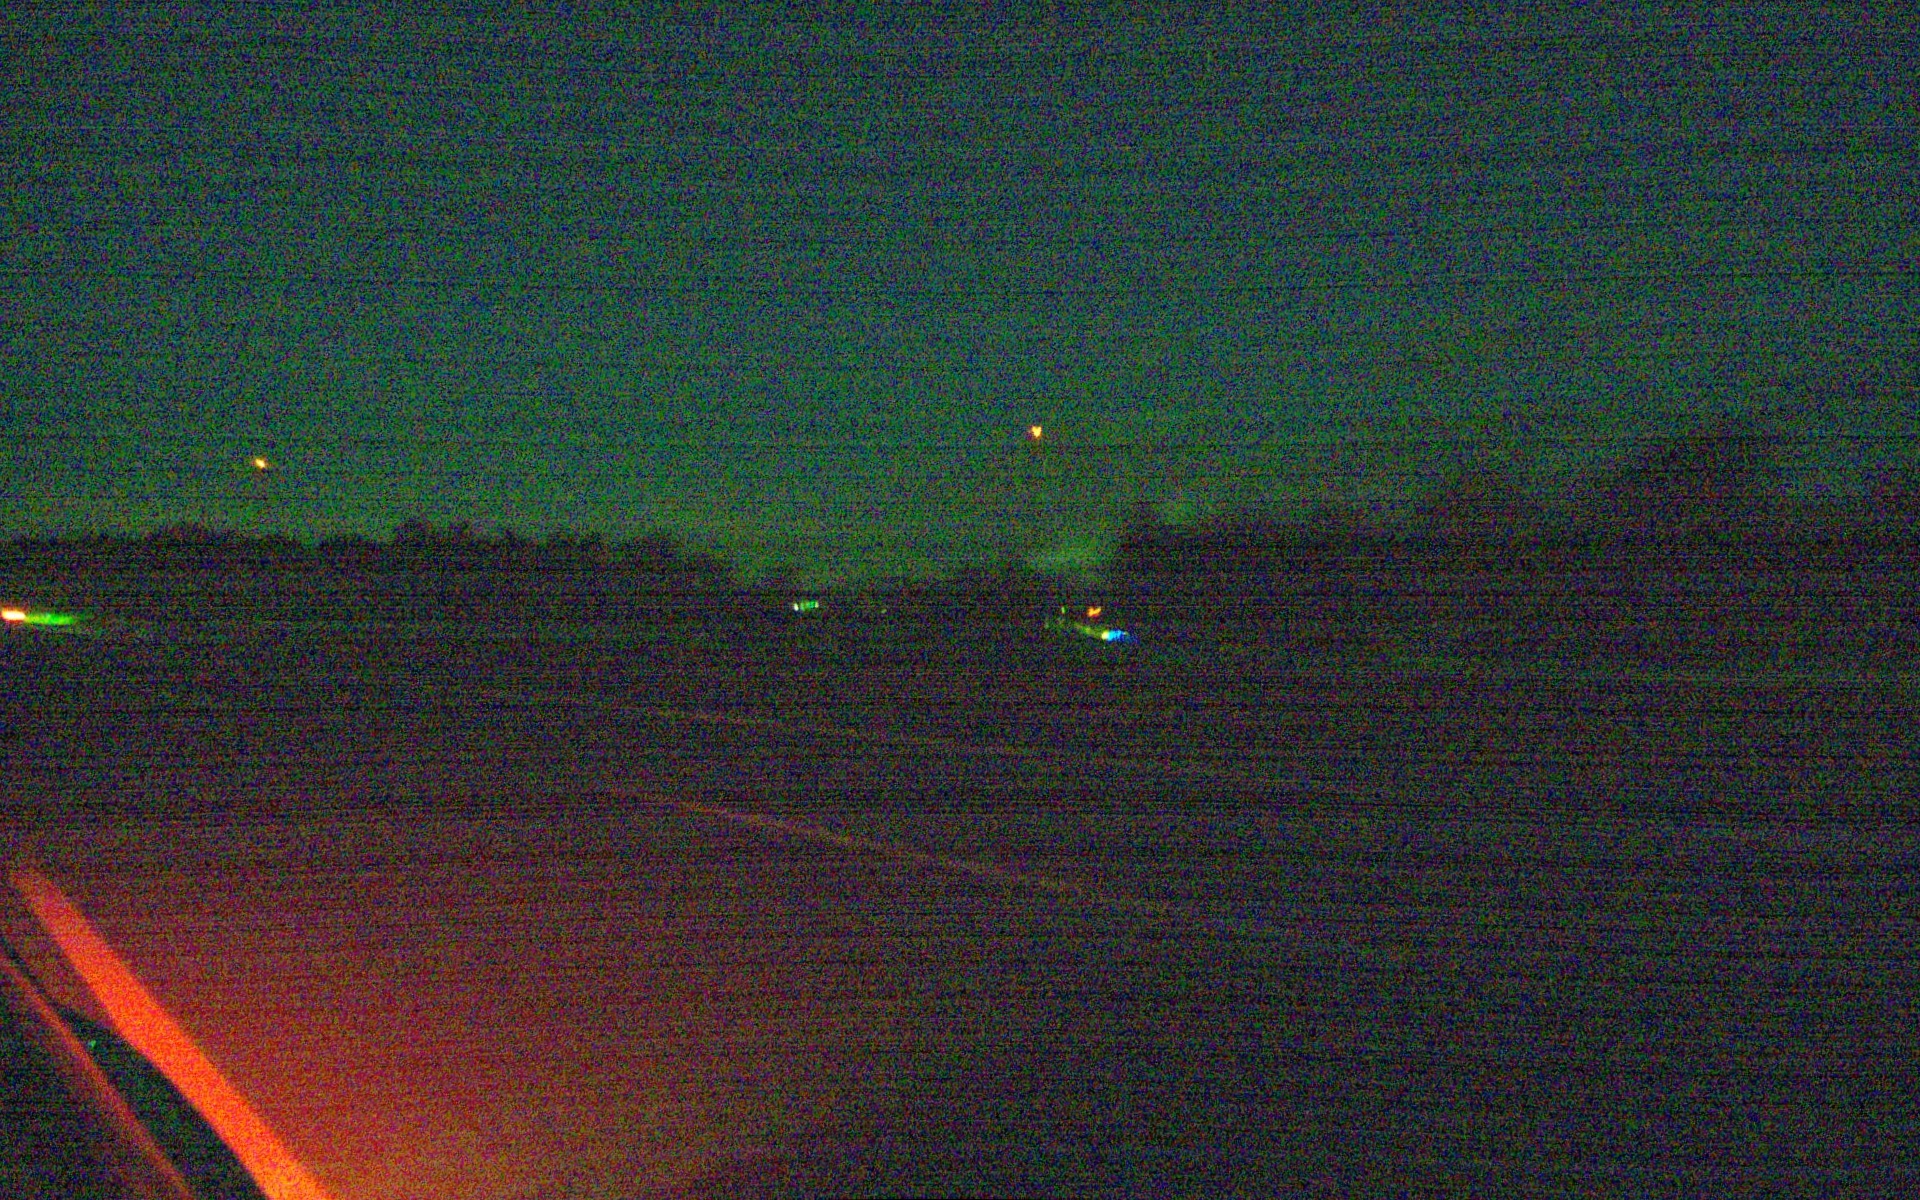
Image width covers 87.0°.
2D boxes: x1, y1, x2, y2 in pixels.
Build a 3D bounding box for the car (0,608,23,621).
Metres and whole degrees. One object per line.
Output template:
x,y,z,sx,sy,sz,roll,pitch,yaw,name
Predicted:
-125.618,1.916,133.827,5.069,1.758,1.973,0,0,41,car
